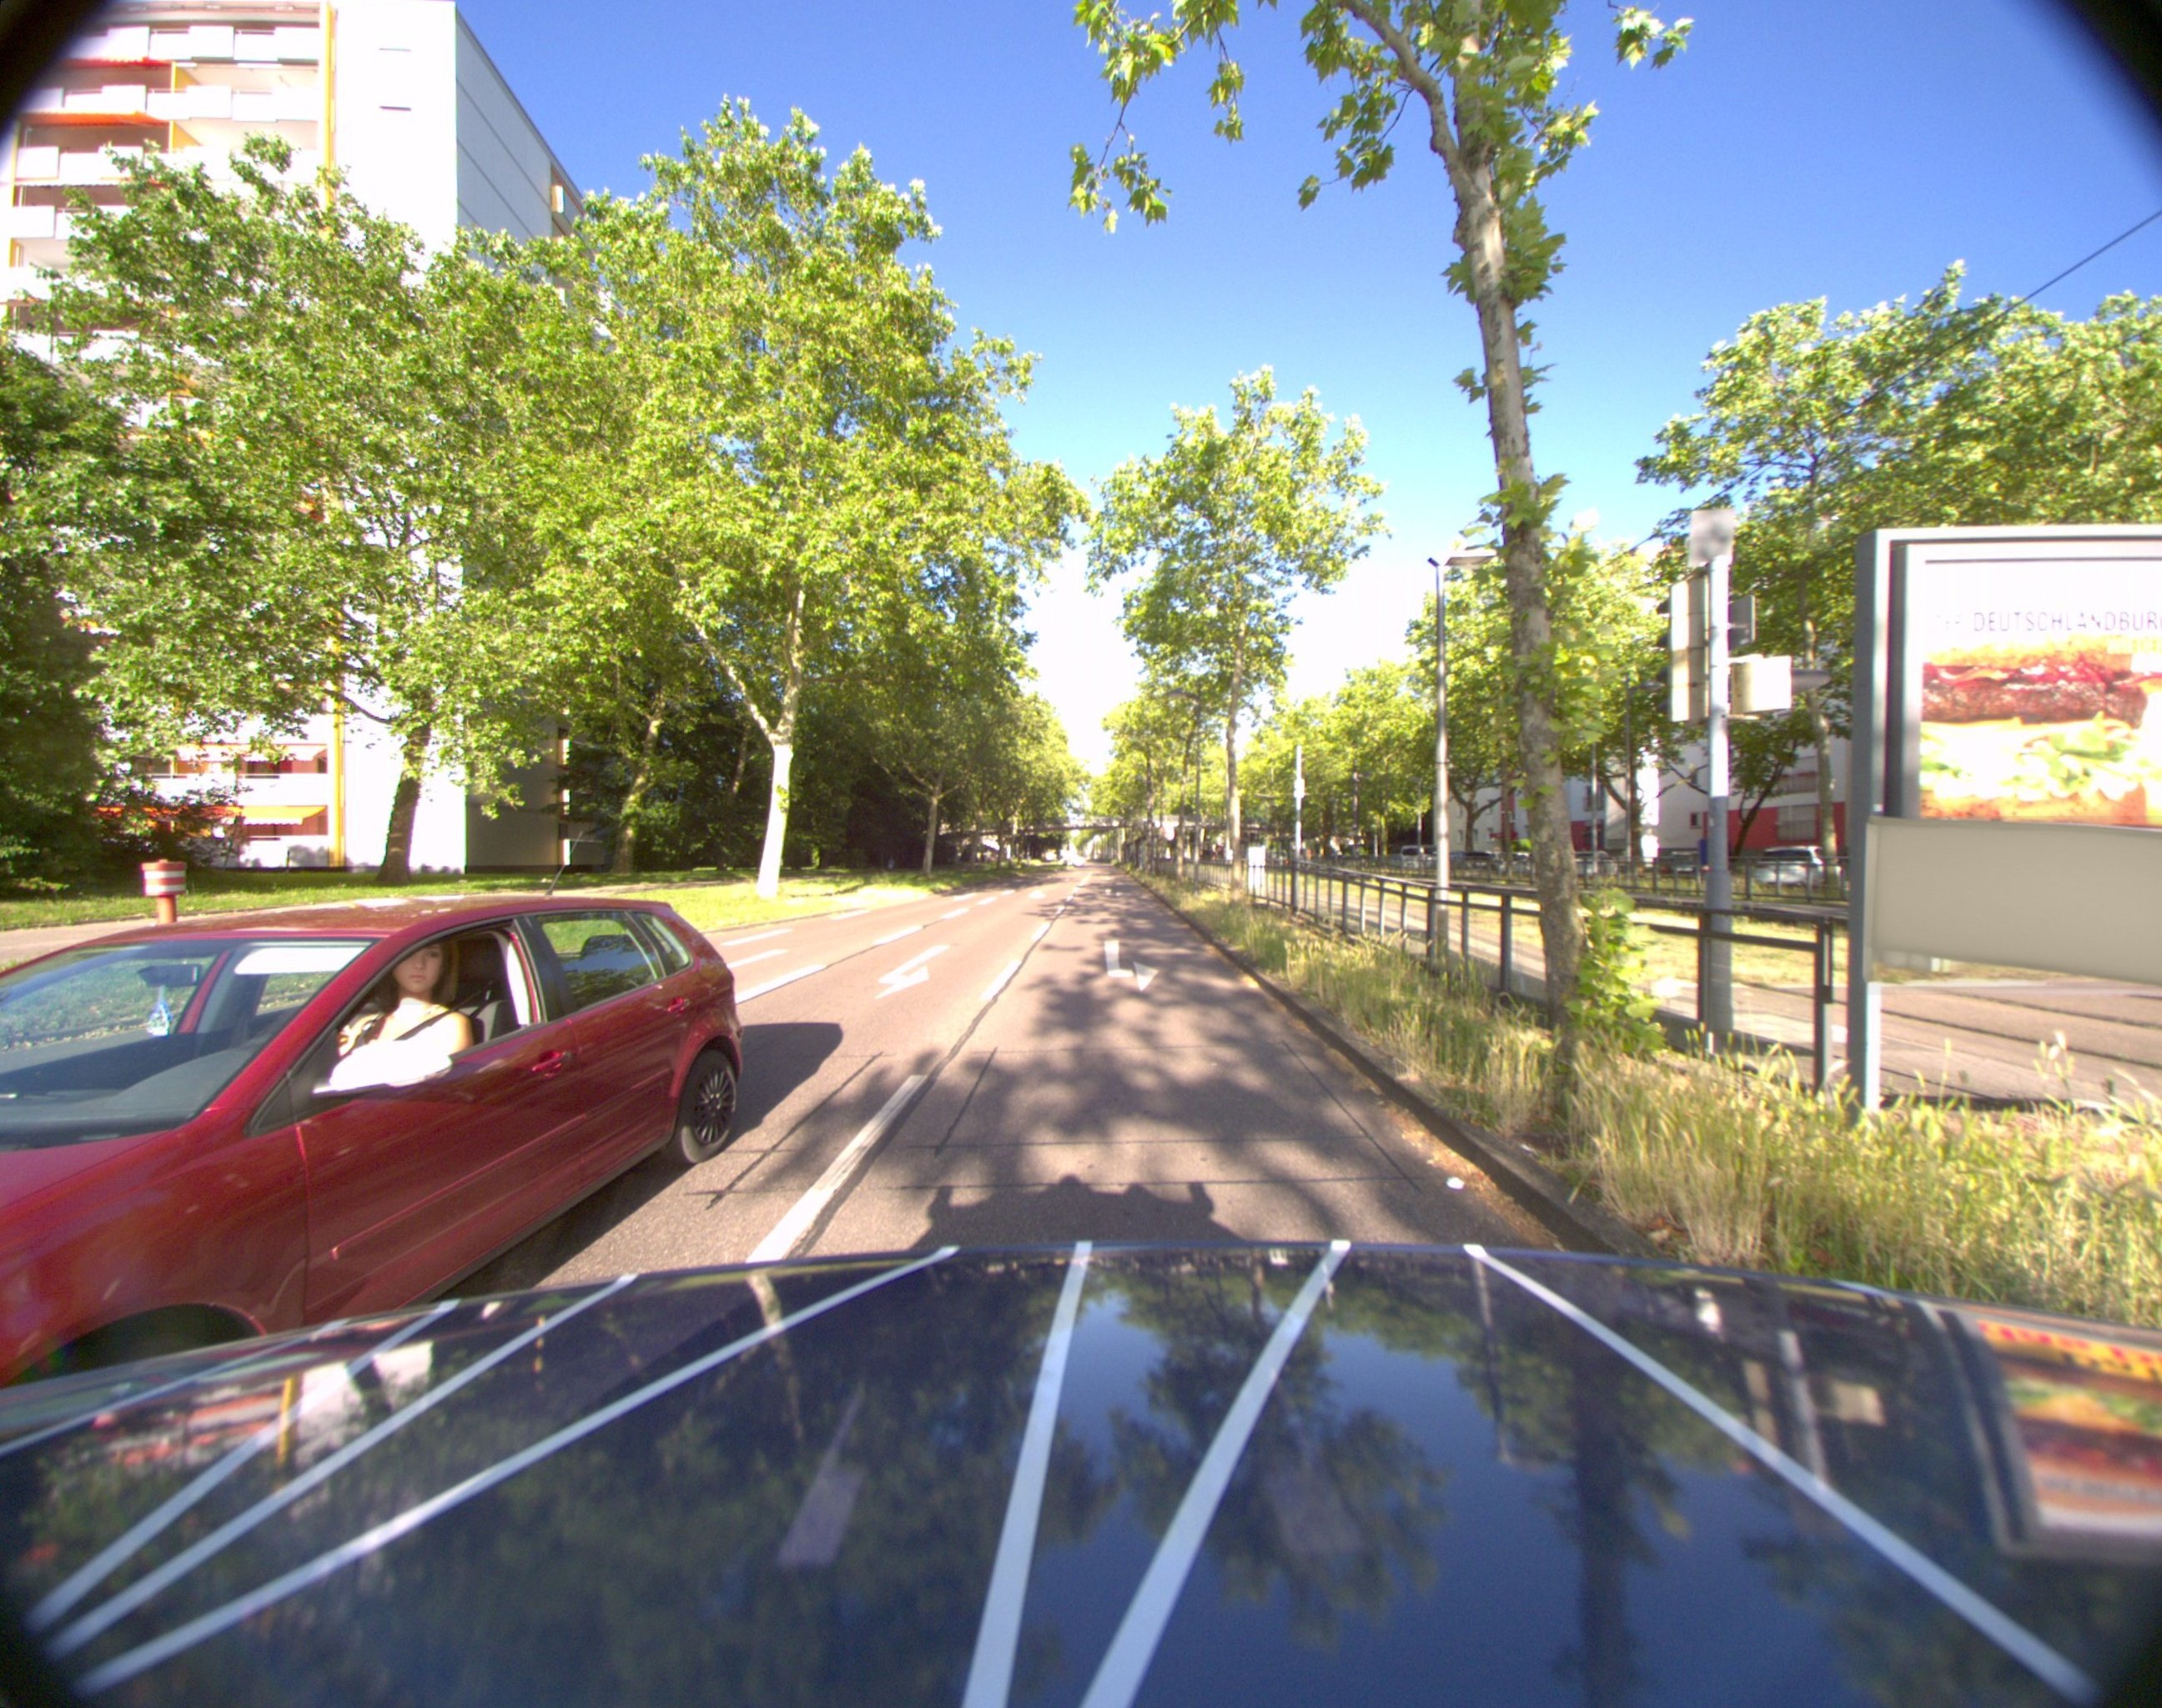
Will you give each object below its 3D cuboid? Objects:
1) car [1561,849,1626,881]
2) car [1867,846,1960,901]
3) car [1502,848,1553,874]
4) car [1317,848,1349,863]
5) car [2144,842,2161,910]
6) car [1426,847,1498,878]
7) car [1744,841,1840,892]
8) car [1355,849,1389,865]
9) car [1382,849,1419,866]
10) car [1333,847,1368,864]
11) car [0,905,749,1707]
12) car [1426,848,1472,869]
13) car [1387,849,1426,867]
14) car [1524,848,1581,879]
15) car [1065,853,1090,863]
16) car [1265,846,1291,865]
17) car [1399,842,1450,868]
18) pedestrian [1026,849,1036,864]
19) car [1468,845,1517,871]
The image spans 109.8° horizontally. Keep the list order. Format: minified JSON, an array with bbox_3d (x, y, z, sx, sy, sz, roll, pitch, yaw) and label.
[{"bbox_3d":[25.512,0.523,37.764,3.890,1.406,1.486,-3,1,-37],"label":"car"},{"bbox_3d":[25.232,0.546,22.997,3.770,1.420,1.555,-3,1,-37],"label":"car"},{"bbox_3d":[26.243,0.409,44.605,3.493,1.321,1.476,-3,0,-41],"label":"car"},{"bbox_3d":[26.560,0.120,80.002,3.742,1.517,1.597,-1,1,-43],"label":"car"},{"bbox_3d":[24.636,0.525,16.233,4.007,1.479,1.689,-3,1,-44],"label":"car"},{"bbox_3d":[19.922,0.414,39.936,1.769,1.503,4.102,-1,0,1],"label":"car"},{"bbox_3d":[25.217,0.408,26.925,4.007,1.586,1.810,-3,1,-37],"label":"car"},{"bbox_3d":[26.693,0.263,69.658,3.494,1.312,1.476,-1,1,-41],"label":"car"},{"bbox_3d":[26.902,0.276,64.000,3.494,1.293,1.476,-1,1,-41],"label":"car"},{"bbox_3d":[26.099,0.126,73.525,3.835,1.561,1.597,-1,1,-43],"label":"car"},{"bbox_3d":[-2.855,1.057,2.570,1.646,1.430,3.761,-2,1,2],"label":"car"},{"bbox_3d":[26.098,0.307,53.853,3.494,1.395,1.623,-1,1,-41],"label":"car"},{"bbox_3d":[25.848,0.288,60.329,3.494,1.336,1.476,-1,1,-41],"label":"car"},{"bbox_3d":[25.717,0.487,41.415,3.402,1.499,1.461,-3,1,-37],"label":"car"},{"bbox_3d":[-0.587,0.643,124.447,1.794,1.465,4.007,-2,1,42],"label":"car"},{"bbox_3d":[21.256,0.124,82.029,1.795,1.980,4.653,-1,0,3],"label":"car"},{"bbox_3d":[25.739,0.055,56.912,4.056,1.802,1.864,-1,1,-40],"label":"car"},{"bbox_3d":[-6.965,0.392,106.604,0.964,2.002,0.917,-3,1,-41],"label":"pedestrian"},{"bbox_3d":[25.920,0.218,47.833,3.493,1.417,1.558,-3,-1,-42],"label":"car"}]
